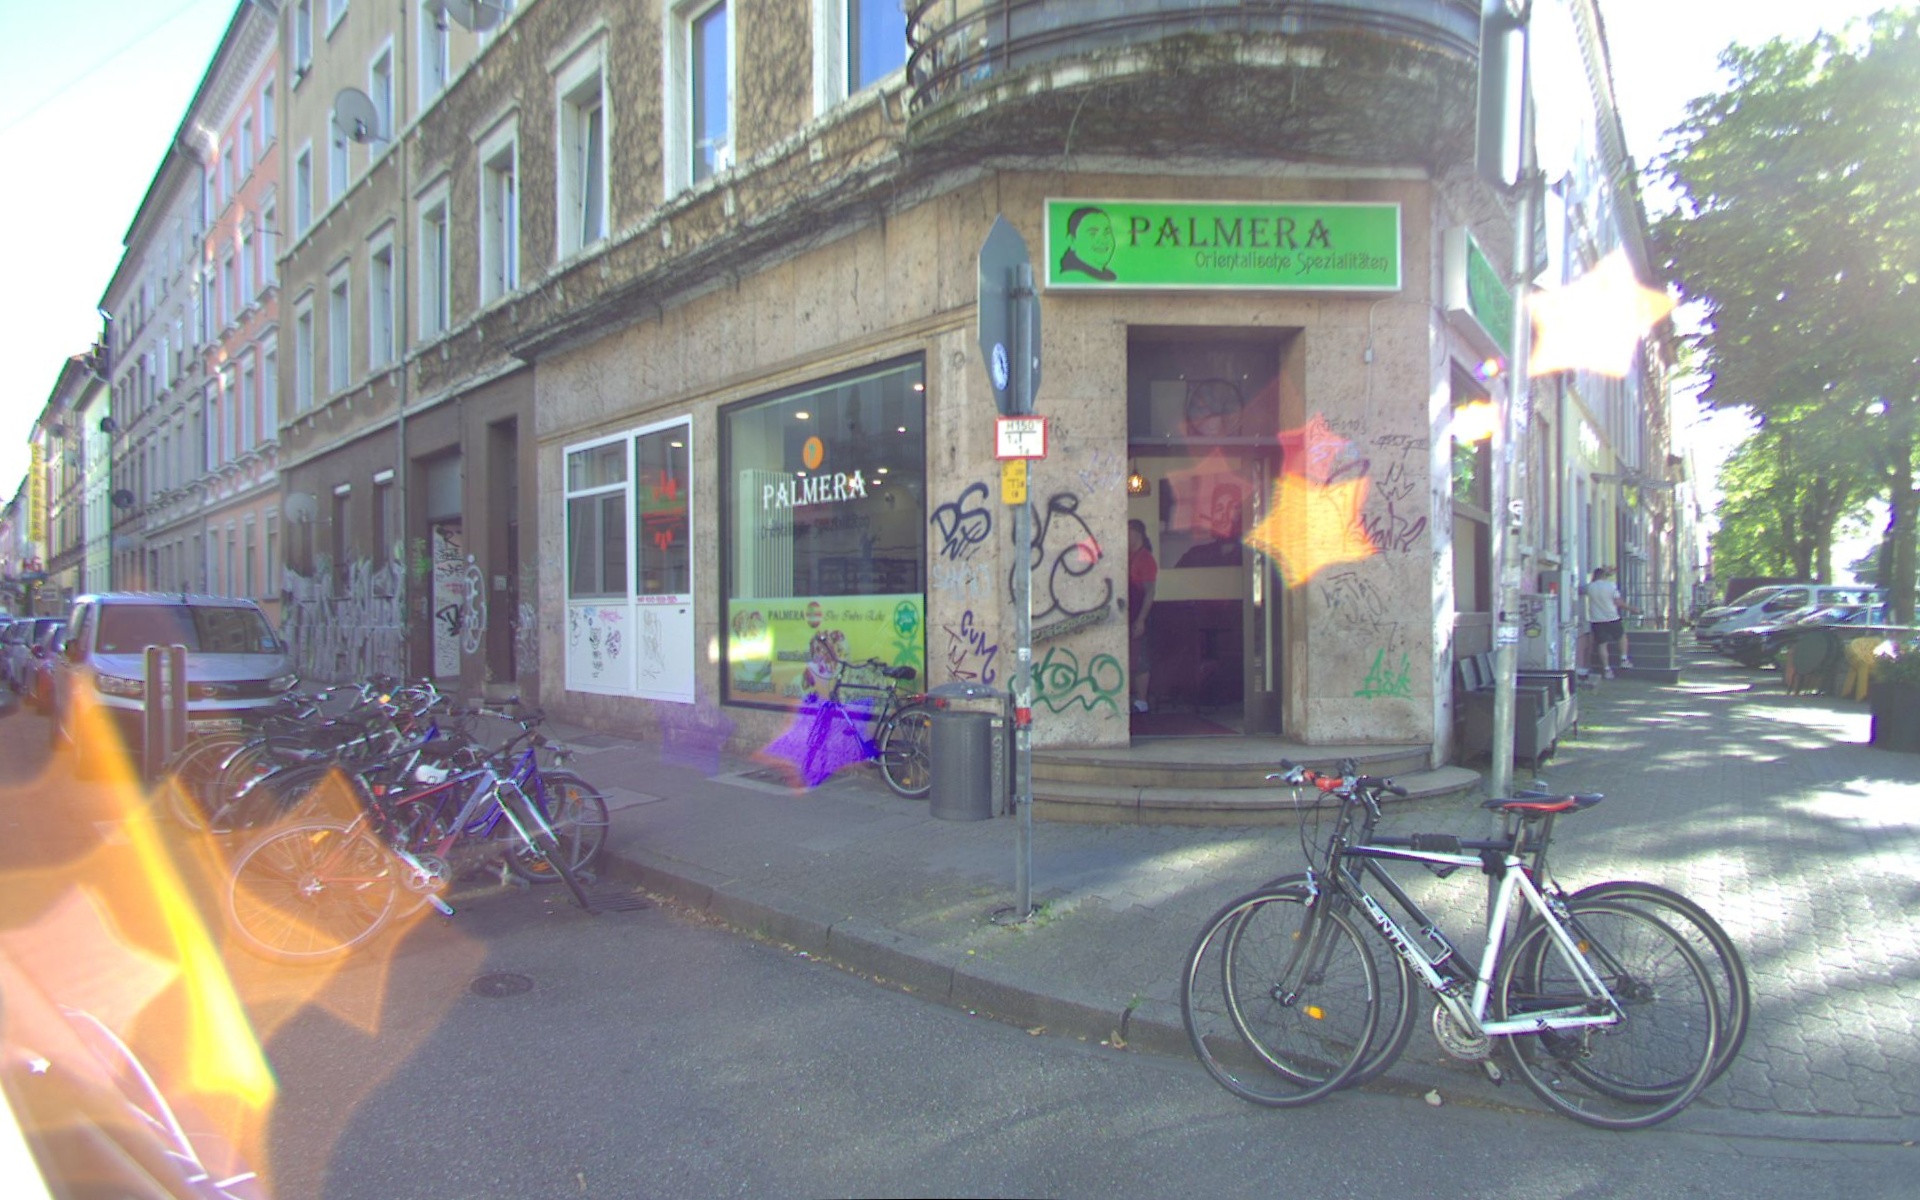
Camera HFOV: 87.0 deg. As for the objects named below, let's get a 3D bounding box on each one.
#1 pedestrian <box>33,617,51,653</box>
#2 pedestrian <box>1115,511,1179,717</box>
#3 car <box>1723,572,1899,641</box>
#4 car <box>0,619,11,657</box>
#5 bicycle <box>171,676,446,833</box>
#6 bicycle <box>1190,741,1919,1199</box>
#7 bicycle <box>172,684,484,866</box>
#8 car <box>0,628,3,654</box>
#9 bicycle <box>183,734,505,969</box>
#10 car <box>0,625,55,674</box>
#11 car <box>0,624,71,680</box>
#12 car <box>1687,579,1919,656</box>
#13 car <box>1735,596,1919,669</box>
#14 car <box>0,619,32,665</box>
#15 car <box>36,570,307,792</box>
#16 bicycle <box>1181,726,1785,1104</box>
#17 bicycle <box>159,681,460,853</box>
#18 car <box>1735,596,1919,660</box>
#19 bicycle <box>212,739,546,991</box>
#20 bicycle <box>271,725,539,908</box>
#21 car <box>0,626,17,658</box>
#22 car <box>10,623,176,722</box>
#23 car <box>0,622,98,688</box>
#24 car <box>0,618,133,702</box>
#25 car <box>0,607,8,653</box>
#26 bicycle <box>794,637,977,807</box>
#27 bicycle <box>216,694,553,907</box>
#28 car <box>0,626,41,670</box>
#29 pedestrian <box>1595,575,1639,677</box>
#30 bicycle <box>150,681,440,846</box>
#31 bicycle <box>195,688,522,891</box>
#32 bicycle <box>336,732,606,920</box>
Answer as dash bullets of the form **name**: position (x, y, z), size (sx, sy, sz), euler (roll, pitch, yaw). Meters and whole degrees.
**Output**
- **pedestrian**: position (-47.356, 1.800, 52.220), size (0.617, 1.844, 0.595), euler (-2, 0, -45)
- **pedestrian**: position (1.623, 0.118, 8.777), size (0.429, 1.729, 0.404), euler (-1, 0, 27)
- **car**: position (34.334, 0.227, 41.069), size (5.185, 2.597, 2.219), euler (2, 0, 35)
- **car**: position (-49.566, 1.944, 51.608), size (1.727, 1.906, 4.775), euler (0, -1, -43)
- **bicycle**: position (-5.017, 1.142, 7.895), size (0.463, 0.996, 1.745), euler (-2, -1, 43)
- **bicycle**: position (1.545, 0.980, 2.780), size (1.666, 1.053, 0.458), euler (-3, -1, 4)
- **bicycle**: position (-4.203, 1.110, 6.851), size (0.443, 0.969, 1.745), euler (-2, -1, 43)
- **car**: position (-53.420, 2.254, 55.206), size (3.861, 1.400, 1.660), euler (-2, -1, 45)
- **bicycle**: position (-2.902, 1.137, 4.880), size (0.354, 0.824, 1.297), euler (-2, -1, 34)
- **car**: position (-29.919, 1.543, 32.179), size (1.658, 1.474, 3.865), euler (0, -1, -41)
- **car**: position (-26.425, 1.426, 28.615), size (4.315, 1.474, 1.660), euler (-2, -1, 45)
- **car**: position (24.039, 0.504, 28.530), size (5.296, 2.006, 2.030), euler (-1, -1, 14)
- **car**: position (19.742, 0.681, 21.696), size (4.601, 1.502, 1.680), euler (-1, -1, 15)
- **car**: position (-37.236, 1.627, 39.242), size (3.861, 1.696, 1.660), euler (-2, -1, 45)
- **car**: position (-8.669, 0.788, 10.966), size (4.521, 1.925, 1.660), euler (-2, -4, 45)
- **bicycle**: position (1.592, 0.967, 3.251), size (1.642, 1.054, 0.450), euler (-1, -1, 4)
- **bicycle**: position (-4.529, 1.112, 7.158), size (0.422, 0.969, 1.745), euler (-2, -1, 43)
- **car**: position (22.589, 0.719, 26.416), size (3.292, 1.514, 1.682), euler (-1, 2, 13)
- **bicycle**: position (-2.588, 1.130, 4.627), size (0.370, 0.824, 1.297), euler (-2, -1, 34)
- **bicycle**: position (-3.114, 1.178, 5.789), size (0.381, 0.824, 1.297), euler (-2, -3, 34)
- **car**: position (-44.852, 1.943, 46.809), size (3.861, 1.426, 1.660), euler (-2, -1, 45)
- **car**: position (-14.779, 1.154, 17.173), size (4.203, 1.485, 1.660), euler (-2, -3, 43)
- **car**: position (-22.942, 1.338, 25.329), size (3.611, 1.504, 1.661), euler (-2, -1, 42)
- **car**: position (-18.043, 1.163, 20.370), size (2.958, 1.561, 1.662), euler (-2, -2, 41)
- **car**: position (-57.648, 1.775, 59.553), size (5.844, 2.611, 2.065), euler (-2, -1, 44)
- **bicycle**: position (-0.588, 0.842, 7.455), size (1.592, 1.100, 0.393), euler (-1, -1, 44)
- **bicycle**: position (-3.380, 1.123, 6.107), size (0.427, 0.969, 1.748), euler (-2, -1, 36)
- **car**: position (-33.885, 1.692, 35.932), size (3.861, 1.474, 1.660), euler (-2, -1, 45)
- **pedestrian**: position (10.969, 0.436, 16.897), size (0.538, 1.655, 0.563), euler (-3, -2, 35)
- **bicycle**: position (-4.827, 1.141, 7.453), size (0.405, 0.969, 1.745), euler (-2, -1, 43)
- **bicycle**: position (-3.690, 1.104, 6.372), size (0.480, 0.969, 1.751), euler (-2, -1, 32)
- **bicycle**: position (-2.718, 1.223, 5.760), size (0.361, 0.824, 1.375), euler (-2, -3, 34)
